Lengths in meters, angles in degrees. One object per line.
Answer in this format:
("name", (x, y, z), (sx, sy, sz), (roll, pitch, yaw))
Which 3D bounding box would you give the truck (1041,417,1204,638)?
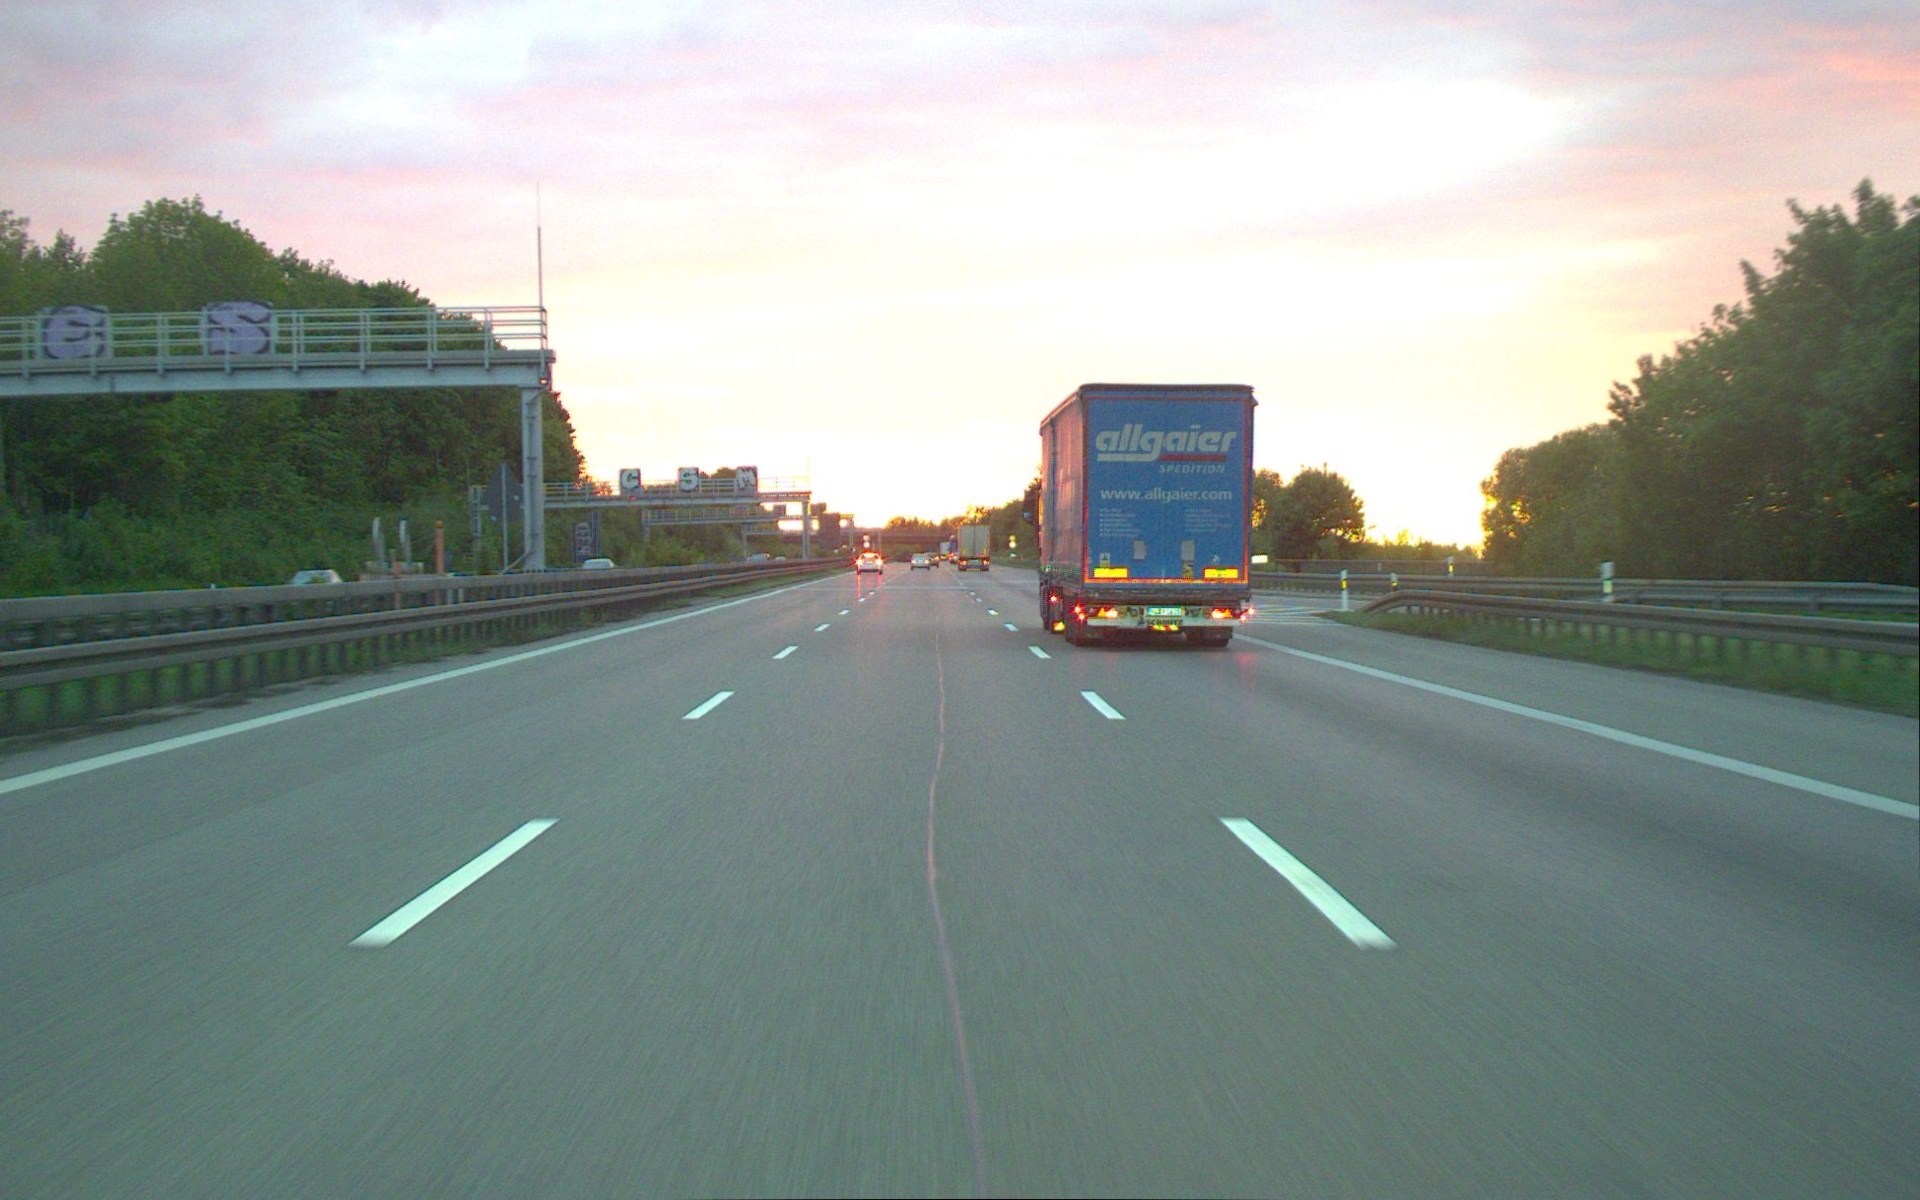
("truck", (3.001, -1.339, 65.064), (2.736, 3.983, 5.849), (0, 1, 0))

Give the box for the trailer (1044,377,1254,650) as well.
("trailer", (2.998, -1.367, 58.407), (2.772, 4.072, 13.740), (0, 1, 0))

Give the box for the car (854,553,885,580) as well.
("car", (-6.330, -2.341, 240.238), (2.013, 1.743, 3.903), (-4, 1, -1))

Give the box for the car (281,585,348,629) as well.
("car", (-21.850, 0.234, 116.490), (1.641, 1.416, 3.536), (0, 1, -1))
